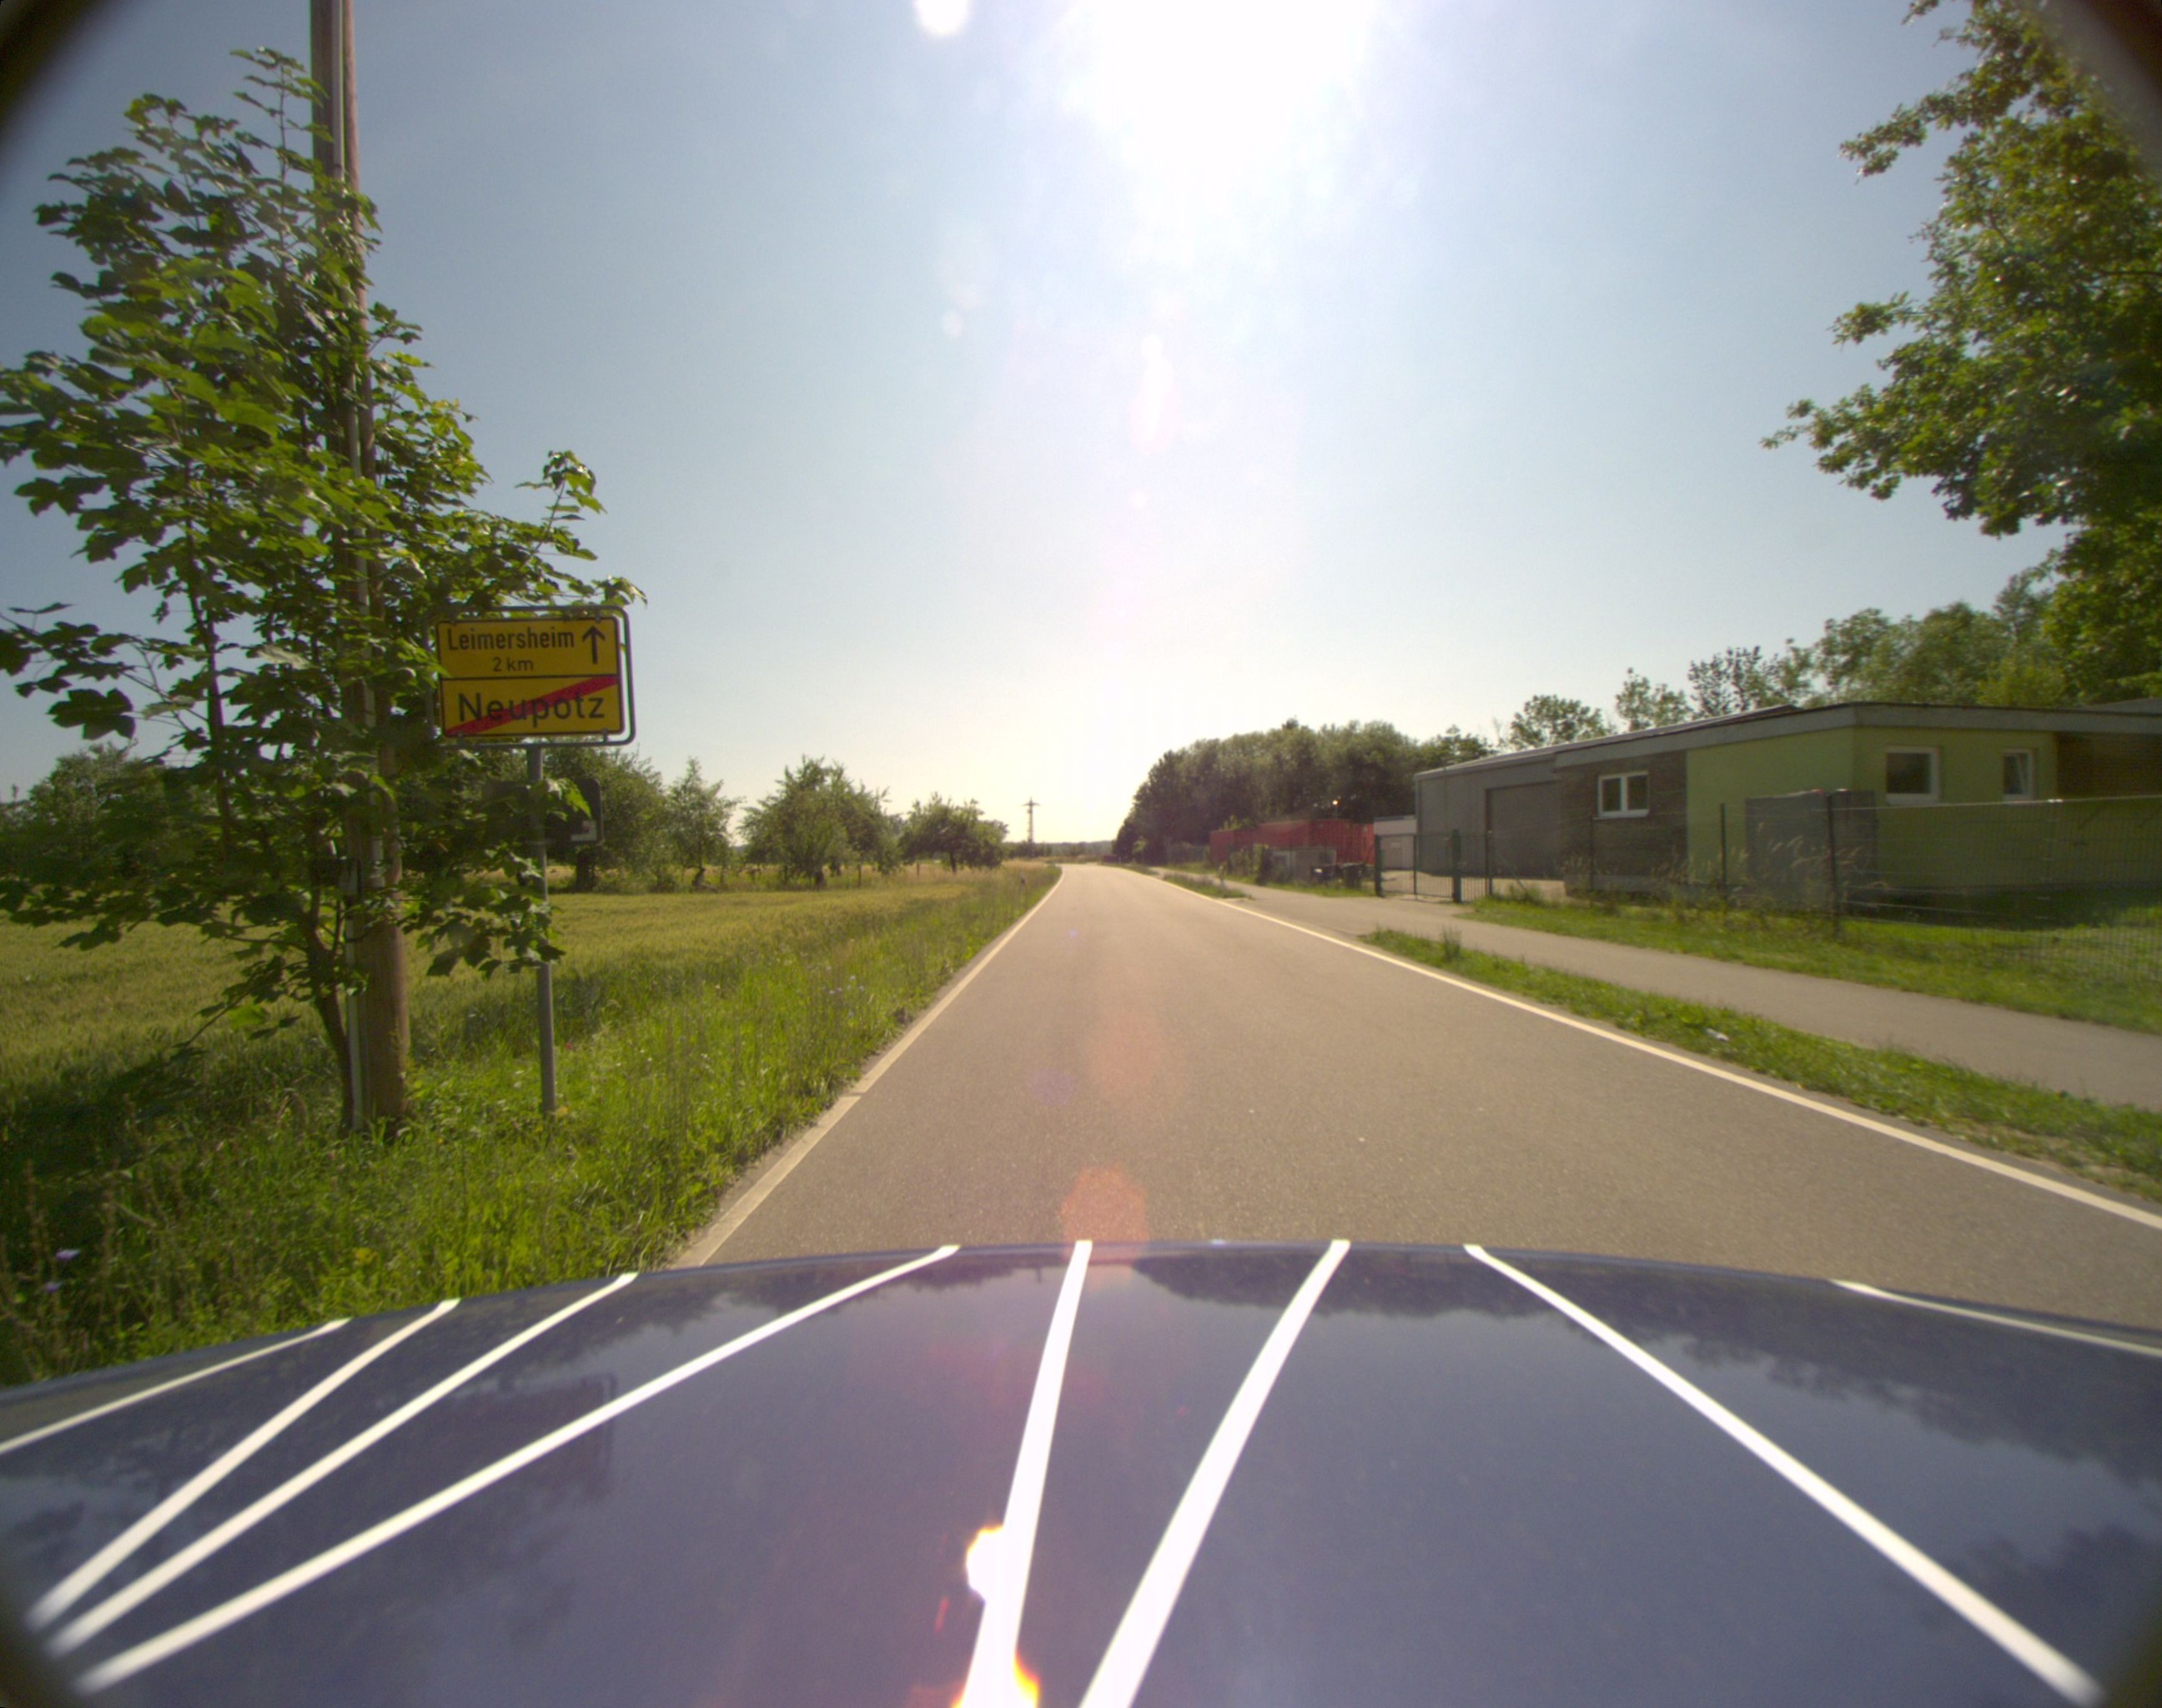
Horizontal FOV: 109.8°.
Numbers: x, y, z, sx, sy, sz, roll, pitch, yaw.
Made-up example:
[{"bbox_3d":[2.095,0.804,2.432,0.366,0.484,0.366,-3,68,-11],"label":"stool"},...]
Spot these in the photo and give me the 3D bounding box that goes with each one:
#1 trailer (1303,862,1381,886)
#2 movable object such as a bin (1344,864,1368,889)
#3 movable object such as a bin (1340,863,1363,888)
[{"bbox_3d":[10.079,0.750,29.561,1.635,0.861,3.356,-1,0,-6],"label":"trailer"},{"bbox_3d":[9.434,0.758,26.060,0.640,0.849,0.654,0,0,6],"label":"movable object such as a bin"},{"bbox_3d":[9.512,0.743,26.737,0.640,0.871,0.654,0,0,6],"label":"movable object such as a bin"}]
